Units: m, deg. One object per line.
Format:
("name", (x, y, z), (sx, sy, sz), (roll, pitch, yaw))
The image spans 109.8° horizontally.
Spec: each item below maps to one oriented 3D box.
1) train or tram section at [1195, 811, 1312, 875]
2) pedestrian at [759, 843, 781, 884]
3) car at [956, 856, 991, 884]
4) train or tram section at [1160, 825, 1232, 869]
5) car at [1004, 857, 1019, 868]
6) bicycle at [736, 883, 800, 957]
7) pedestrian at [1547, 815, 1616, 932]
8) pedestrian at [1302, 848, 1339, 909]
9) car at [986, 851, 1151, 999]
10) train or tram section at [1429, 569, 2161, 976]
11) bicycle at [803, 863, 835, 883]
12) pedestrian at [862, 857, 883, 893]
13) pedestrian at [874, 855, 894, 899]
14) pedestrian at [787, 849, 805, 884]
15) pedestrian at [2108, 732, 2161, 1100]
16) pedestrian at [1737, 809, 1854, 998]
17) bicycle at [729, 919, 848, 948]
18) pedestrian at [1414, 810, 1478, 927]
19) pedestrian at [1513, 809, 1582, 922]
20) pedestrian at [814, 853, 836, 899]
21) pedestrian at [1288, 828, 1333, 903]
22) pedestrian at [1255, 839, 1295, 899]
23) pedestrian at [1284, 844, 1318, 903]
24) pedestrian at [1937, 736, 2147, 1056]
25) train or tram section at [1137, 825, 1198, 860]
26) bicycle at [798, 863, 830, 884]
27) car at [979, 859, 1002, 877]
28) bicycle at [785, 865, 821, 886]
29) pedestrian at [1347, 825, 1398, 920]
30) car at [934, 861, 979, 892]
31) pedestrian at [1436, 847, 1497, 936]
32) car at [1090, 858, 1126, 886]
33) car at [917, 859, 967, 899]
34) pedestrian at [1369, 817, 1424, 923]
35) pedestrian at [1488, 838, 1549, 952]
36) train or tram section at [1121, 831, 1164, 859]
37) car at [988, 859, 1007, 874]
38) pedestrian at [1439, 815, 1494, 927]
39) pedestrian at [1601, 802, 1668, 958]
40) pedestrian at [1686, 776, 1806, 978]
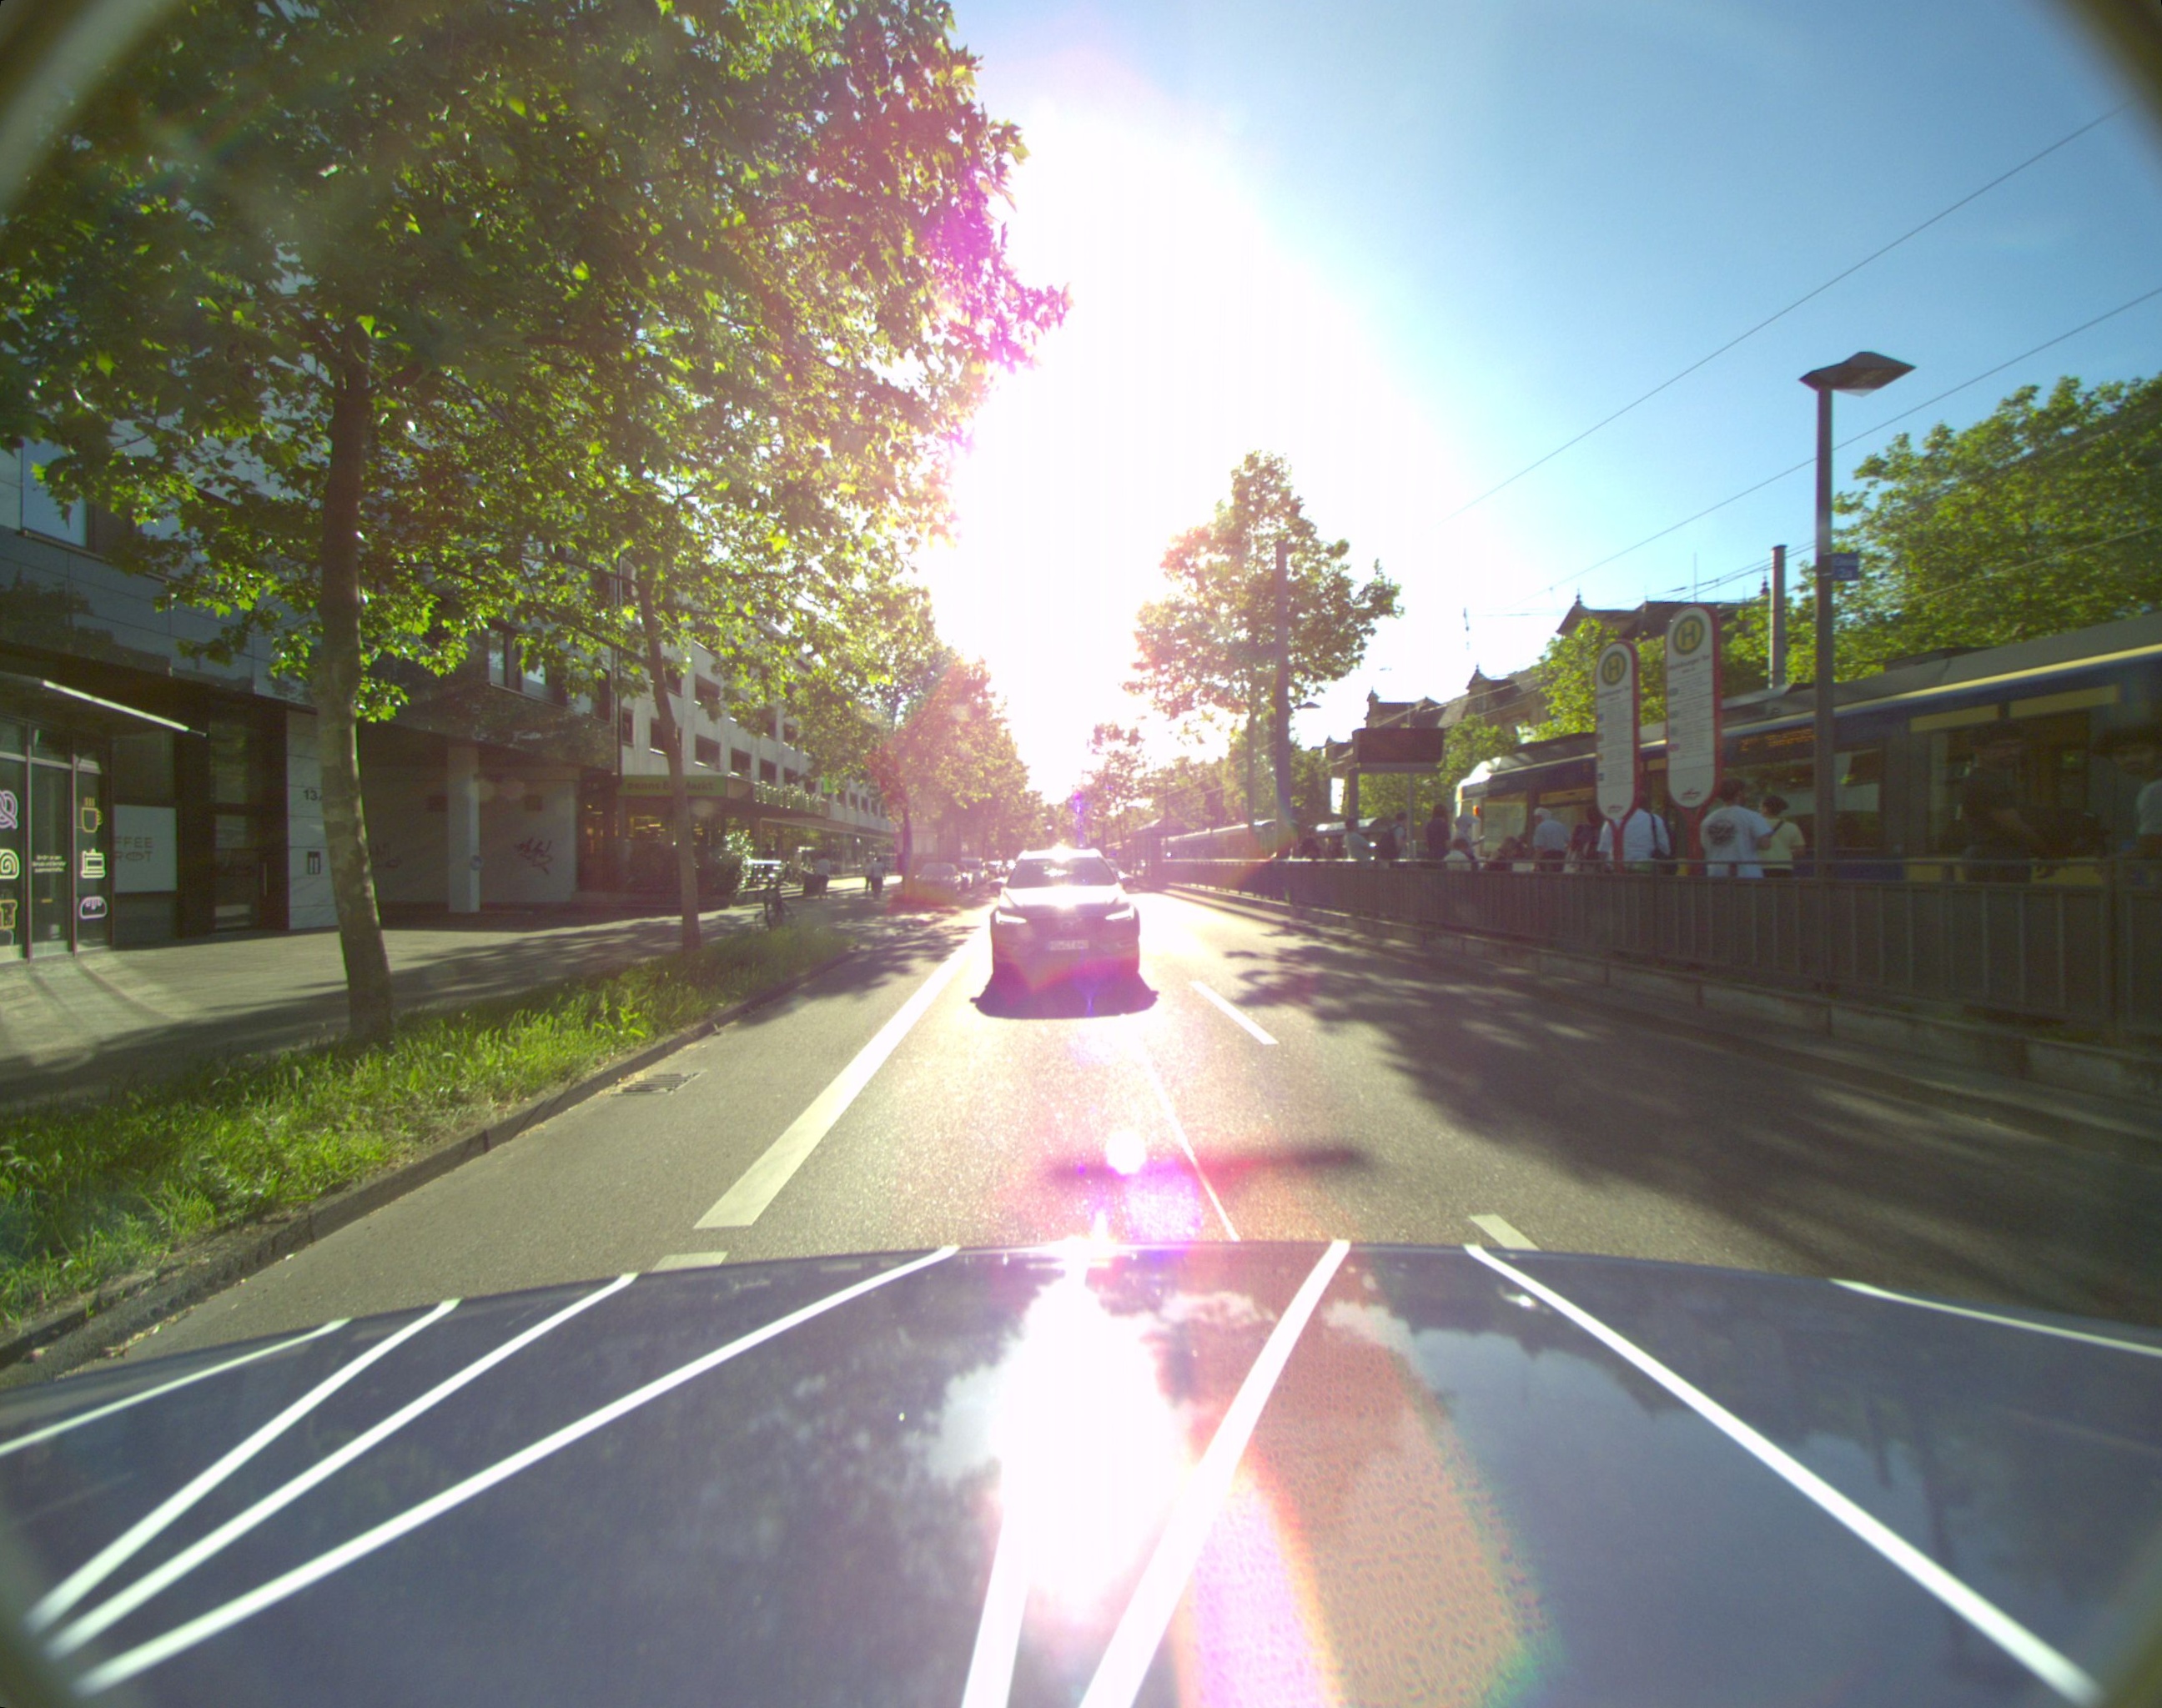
("train or tram section", (10.864, -0.584, 51.020), (2.857, 3.414, 18.209), (-2, 0, -3))
("pedestrian", (-12.990, 0.396, 31.733), (0.559, 1.668, 0.882), (2, 0, -3))
("car", (-6.919, 1.006, 49.279), (1.769, 1.781, 4.392), (0, 0, -2))
("train or tram section", (10.039, -0.552, 69.292), (2.879, 3.414, 18.271), (-2, 0, -3))
("car", (-9.722, 1.170, 106.180), (1.839, 1.556, 4.272), (-1, 0, -3))
("bicycle", (-5.405, 1.101, 13.214), (0.791, 1.126, 1.844), (0, 0, -15))
("pedestrian", (6.627, 0.255, 10.077), (0.546, 1.510, 0.530), (0, 0, -3))
("pedestrian", (4.935, 0.505, 15.705), (0.535, 1.239, 0.604), (0, 0, -5))
("car", (-0.247, 0.829, 11.110), (1.914, 1.695, 4.272), (-1, 0, -3))
("train or tram section", (9.896, -0.758, 9.592), (2.922, 3.241, 15.885), (-2, 1, -3))
("bicycle", (-14.477, 1.056, 42.013), (1.700, 1.049, 0.587), (2, 0, 24))
("pedestrian", (-9.261, 0.923, 33.789), (0.699, 1.603, 0.868), (1, 0, -1))
("pedestrian", (-7.723, 0.890, 29.826), (0.561, 1.694, 1.051), (0, 0, -3))
("pedestrian", (-14.308, 0.623, 38.171), (0.614, 1.705, 0.611), (6, -1, -27))
("pedestrian", (5.434, 0.291, 3.613), (0.538, 1.724, 0.551), (0, 1, 41))
("pedestrian", (6.935, 0.458, 7.395), (0.555, 1.760, 0.611), (0, 0, -7))
("bicycle", (-5.134, 1.392, 13.489), (1.613, 0.351, 1.388), (0, 0, -3))
("pedestrian", (5.372, 0.210, 11.217), (0.662, 1.686, 0.571), (0, 0, -2))
("pedestrian", (6.924, 0.166, 11.289), (0.620, 1.640, 0.622), (0, 0, -7))
("pedestrian", (-9.901, 0.837, 29.399), (0.561, 1.734, 0.878), (0, 0, -3))
("pedestrian", (5.376, 0.264, 17.850), (0.778, 1.742, 0.723), (0, 0, -6))
("pedestrian", (4.904, 0.371, 19.225), (0.778, 1.501, 0.751), (0, 0, -6))
("pedestrian", (4.871, 0.427, 16.867), (0.535, 1.292, 0.604), (0, 0, -6))
("pedestrian", (5.527, 0.228, 4.396), (0.549, 1.724, 0.539), (0, 0, -7))
("train or tram section", (6.948, -0.855, 63.853), (2.570, 2.549, 15.670), (-1, 0, -3))
("bicycle", (-14.423, 1.054, 41.041), (1.700, 1.049, 0.587), (1, -1, 24))
("car", (-7.681, 1.155, 64.857), (1.678, 1.430, 3.688), (2, 1, -4))
("bicycle", (-13.623, 1.054, 37.229), (1.648, 0.910, 0.587), (1, -2, 24))
("pedestrian", (5.112, 0.315, 13.342), (0.662, 1.624, 0.571), (0, 0, -2))
("car", (-6.407, 1.137, 39.508), (1.766, 1.409, 4.699), (-1, 0, -3))
("pedestrian", (5.263, 0.503, 10.393), (0.546, 1.185, 0.530), (0, 0, -3))
("car", (1.459, 0.944, 41.880), (1.707, 1.407, 3.875), (-2, 0, -1))
("car", (-5.950, 1.030, 32.871), (1.569, 1.541, 3.999), (-1, 0, -2))
("pedestrian", (5.137, 0.251, 12.392), (0.662, 1.686, 0.571), (0, 0, -2))
("pedestrian", (5.187, 0.471, 9.023), (0.417, 1.308, 0.507), (0, 0, -5))
("train or tram section", (6.227, -0.844, 79.228), (2.570, 2.516, 15.068), (-1, 0, -3))
("car", (-8.231, 1.218, 75.119), (1.630, 1.433, 3.929), (1, 0, -3))
("pedestrian", (5.969, 0.255, 11.774), (0.516, 1.698, 0.621), (0, 0, -3))
("pedestrian", (6.254, 0.285, 8.608), (0.506, 1.692, 0.612), (0, 1, 25))
("pedestrian", (5.835, 0.192, 6.689), (0.507, 1.692, 0.611), (0, 0, -7))
